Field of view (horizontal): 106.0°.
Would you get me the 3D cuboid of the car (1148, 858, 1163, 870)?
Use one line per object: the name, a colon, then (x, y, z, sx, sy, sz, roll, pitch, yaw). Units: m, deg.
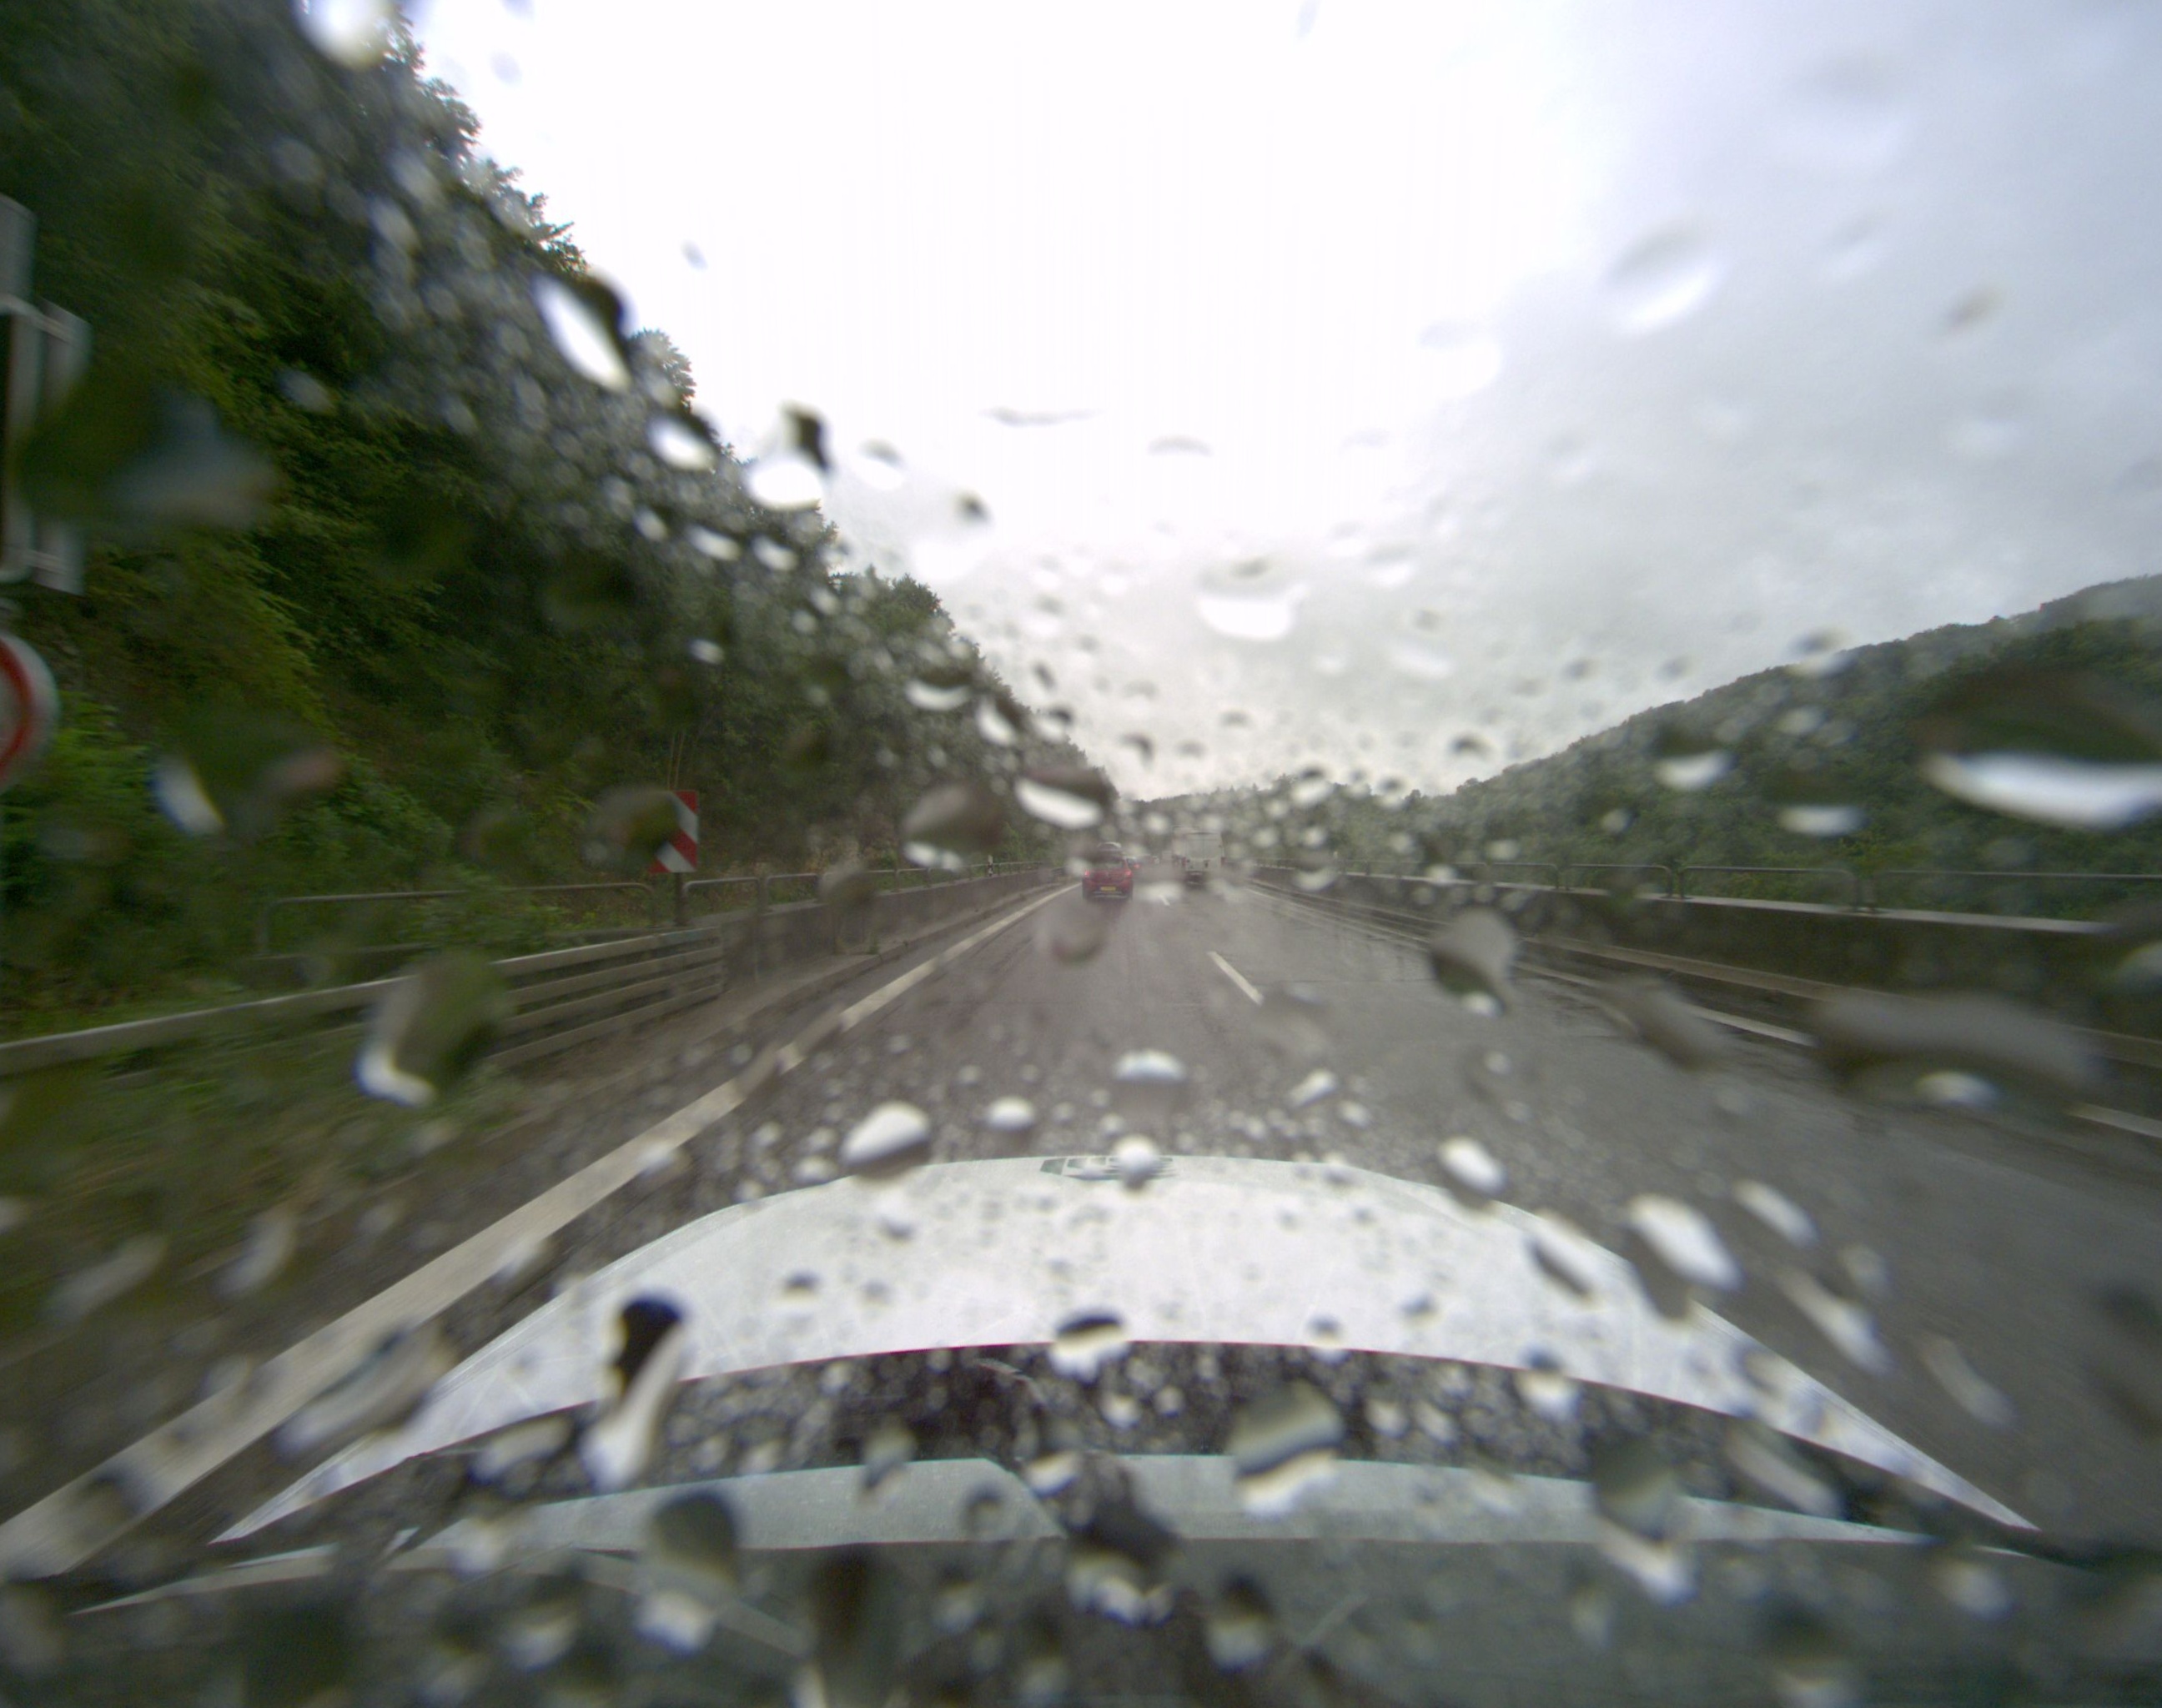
car: (10.786, 1.434, 117.746, 1.983, 1.639, 4.008, -4, -1, 7)

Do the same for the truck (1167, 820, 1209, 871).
truck: (8.852, -0.645, 67.980, 3.203, 3.978, 5.448, -2, -1, 6)

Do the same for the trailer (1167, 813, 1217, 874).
trailer: (8.144, -0.672, 61.201, 3.202, 3.999, 13.546, -2, 0, 6)

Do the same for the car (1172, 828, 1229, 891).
car: (5.771, 0.277, 40.146, 2.196, 2.794, 7.390, -1, 0, 4)

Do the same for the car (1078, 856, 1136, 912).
car: (0.949, 1.002, 28.742, 1.751, 1.684, 4.003, -4, -1, 3)

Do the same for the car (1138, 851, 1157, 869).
car: (6.989, 0.583, 85.347, 1.865, 1.706, 3.894, -4, -1, 5)

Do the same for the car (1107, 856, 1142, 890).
car: (2.503, 1.047, 46.551, 1.825, 1.715, 3.648, -4, -1, 3)
